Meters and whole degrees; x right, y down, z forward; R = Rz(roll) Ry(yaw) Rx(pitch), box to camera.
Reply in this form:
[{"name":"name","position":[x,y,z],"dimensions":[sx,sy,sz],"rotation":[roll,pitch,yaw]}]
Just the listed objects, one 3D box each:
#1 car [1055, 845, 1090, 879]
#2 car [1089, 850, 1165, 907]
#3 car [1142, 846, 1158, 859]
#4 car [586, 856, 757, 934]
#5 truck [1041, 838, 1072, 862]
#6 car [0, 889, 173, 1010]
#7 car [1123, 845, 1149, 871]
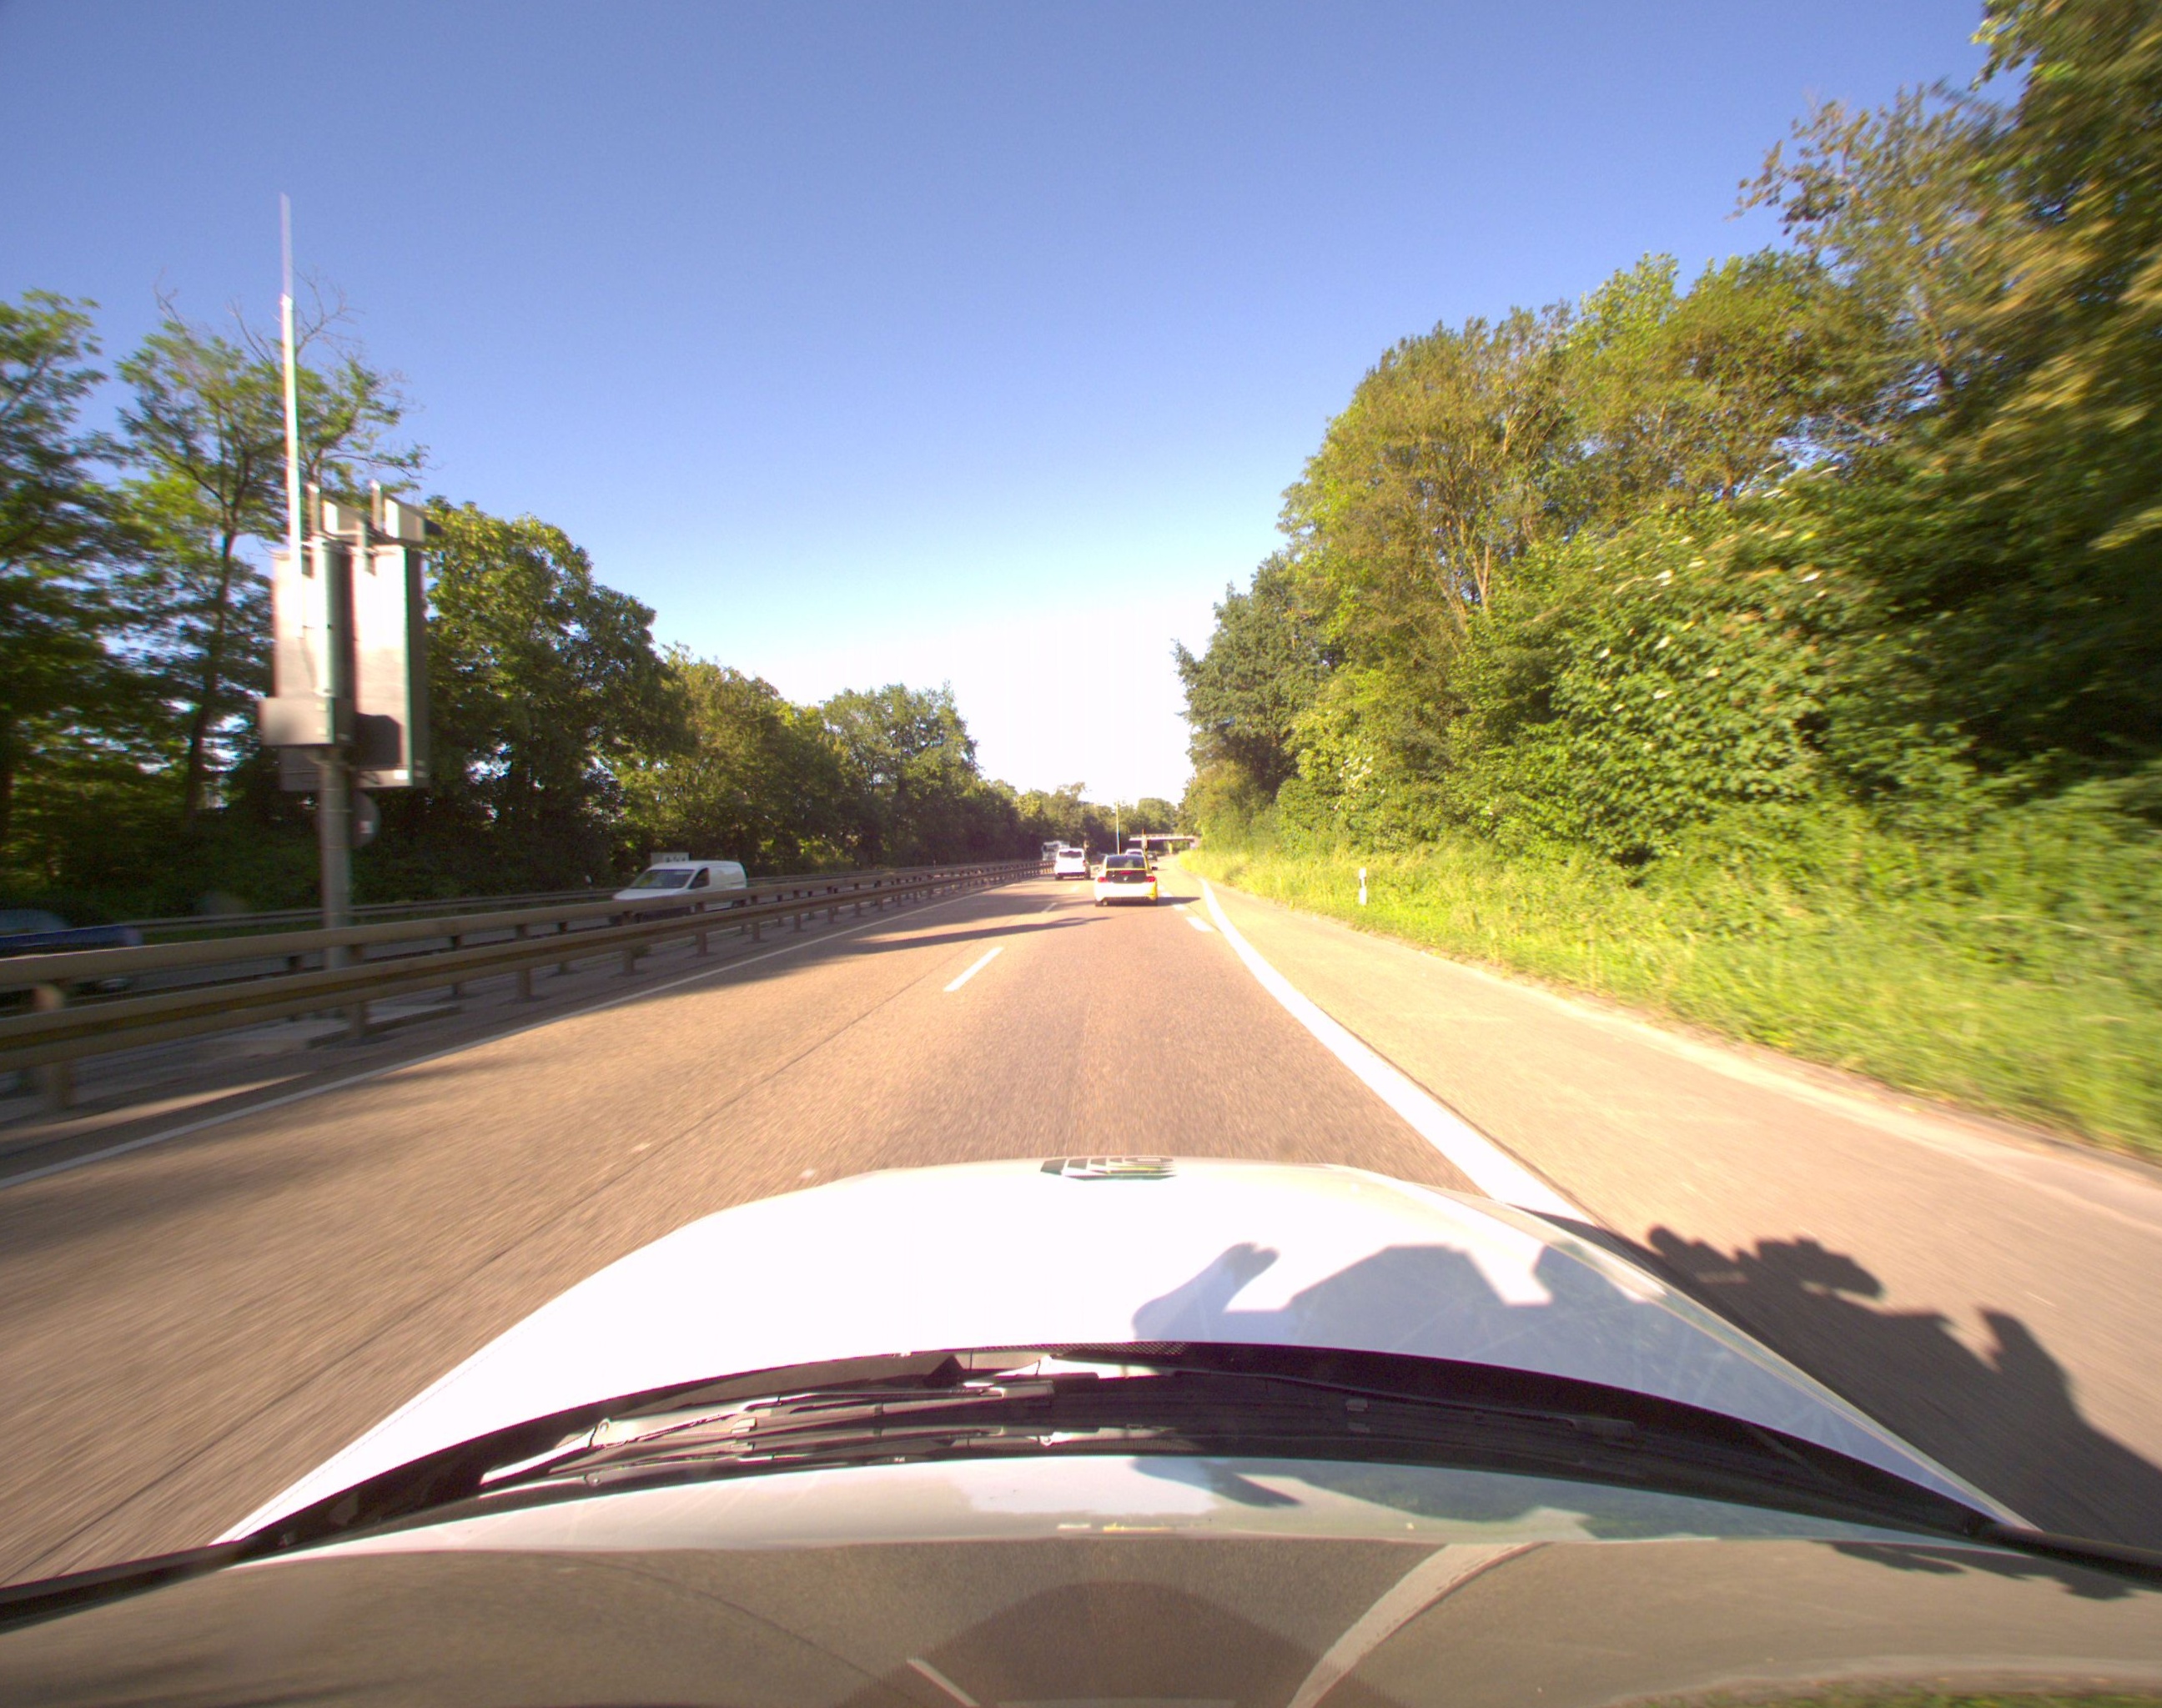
[{"name":"car","position":[-0.439,0.430,45.735],"dimensions":[1.734,1.830,3.426],"rotation":[-1,0,3]},{"name":"car","position":[1.263,0.655,23.922],"dimensions":[1.934,1.508,3.420],"rotation":[-1,0,-2]},{"name":"car","position":[11.068,-0.222,131.015],"dimensions":[2.253,1.875,5.081],"rotation":[-3,0,4]},{"name":"car","position":[-11.289,1.029,22.967],"dimensions":[1.986,1.788,5.031],"rotation":[-3,0,2]},{"name":"truck","position":[-3.941,-0.717,133.940],"dimensions":[2.872,3.520,11.979],"rotation":[-3,0,8]},{"name":"car","position":[-14.984,1.325,10.698],"dimensions":[1.591,1.480,3.912],"rotation":[-2,0,2]},{"name":"car","position":[4.560,0.292,67.664],"dimensions":[1.985,2.013,4.005],"rotation":[-3,0,4]}]
